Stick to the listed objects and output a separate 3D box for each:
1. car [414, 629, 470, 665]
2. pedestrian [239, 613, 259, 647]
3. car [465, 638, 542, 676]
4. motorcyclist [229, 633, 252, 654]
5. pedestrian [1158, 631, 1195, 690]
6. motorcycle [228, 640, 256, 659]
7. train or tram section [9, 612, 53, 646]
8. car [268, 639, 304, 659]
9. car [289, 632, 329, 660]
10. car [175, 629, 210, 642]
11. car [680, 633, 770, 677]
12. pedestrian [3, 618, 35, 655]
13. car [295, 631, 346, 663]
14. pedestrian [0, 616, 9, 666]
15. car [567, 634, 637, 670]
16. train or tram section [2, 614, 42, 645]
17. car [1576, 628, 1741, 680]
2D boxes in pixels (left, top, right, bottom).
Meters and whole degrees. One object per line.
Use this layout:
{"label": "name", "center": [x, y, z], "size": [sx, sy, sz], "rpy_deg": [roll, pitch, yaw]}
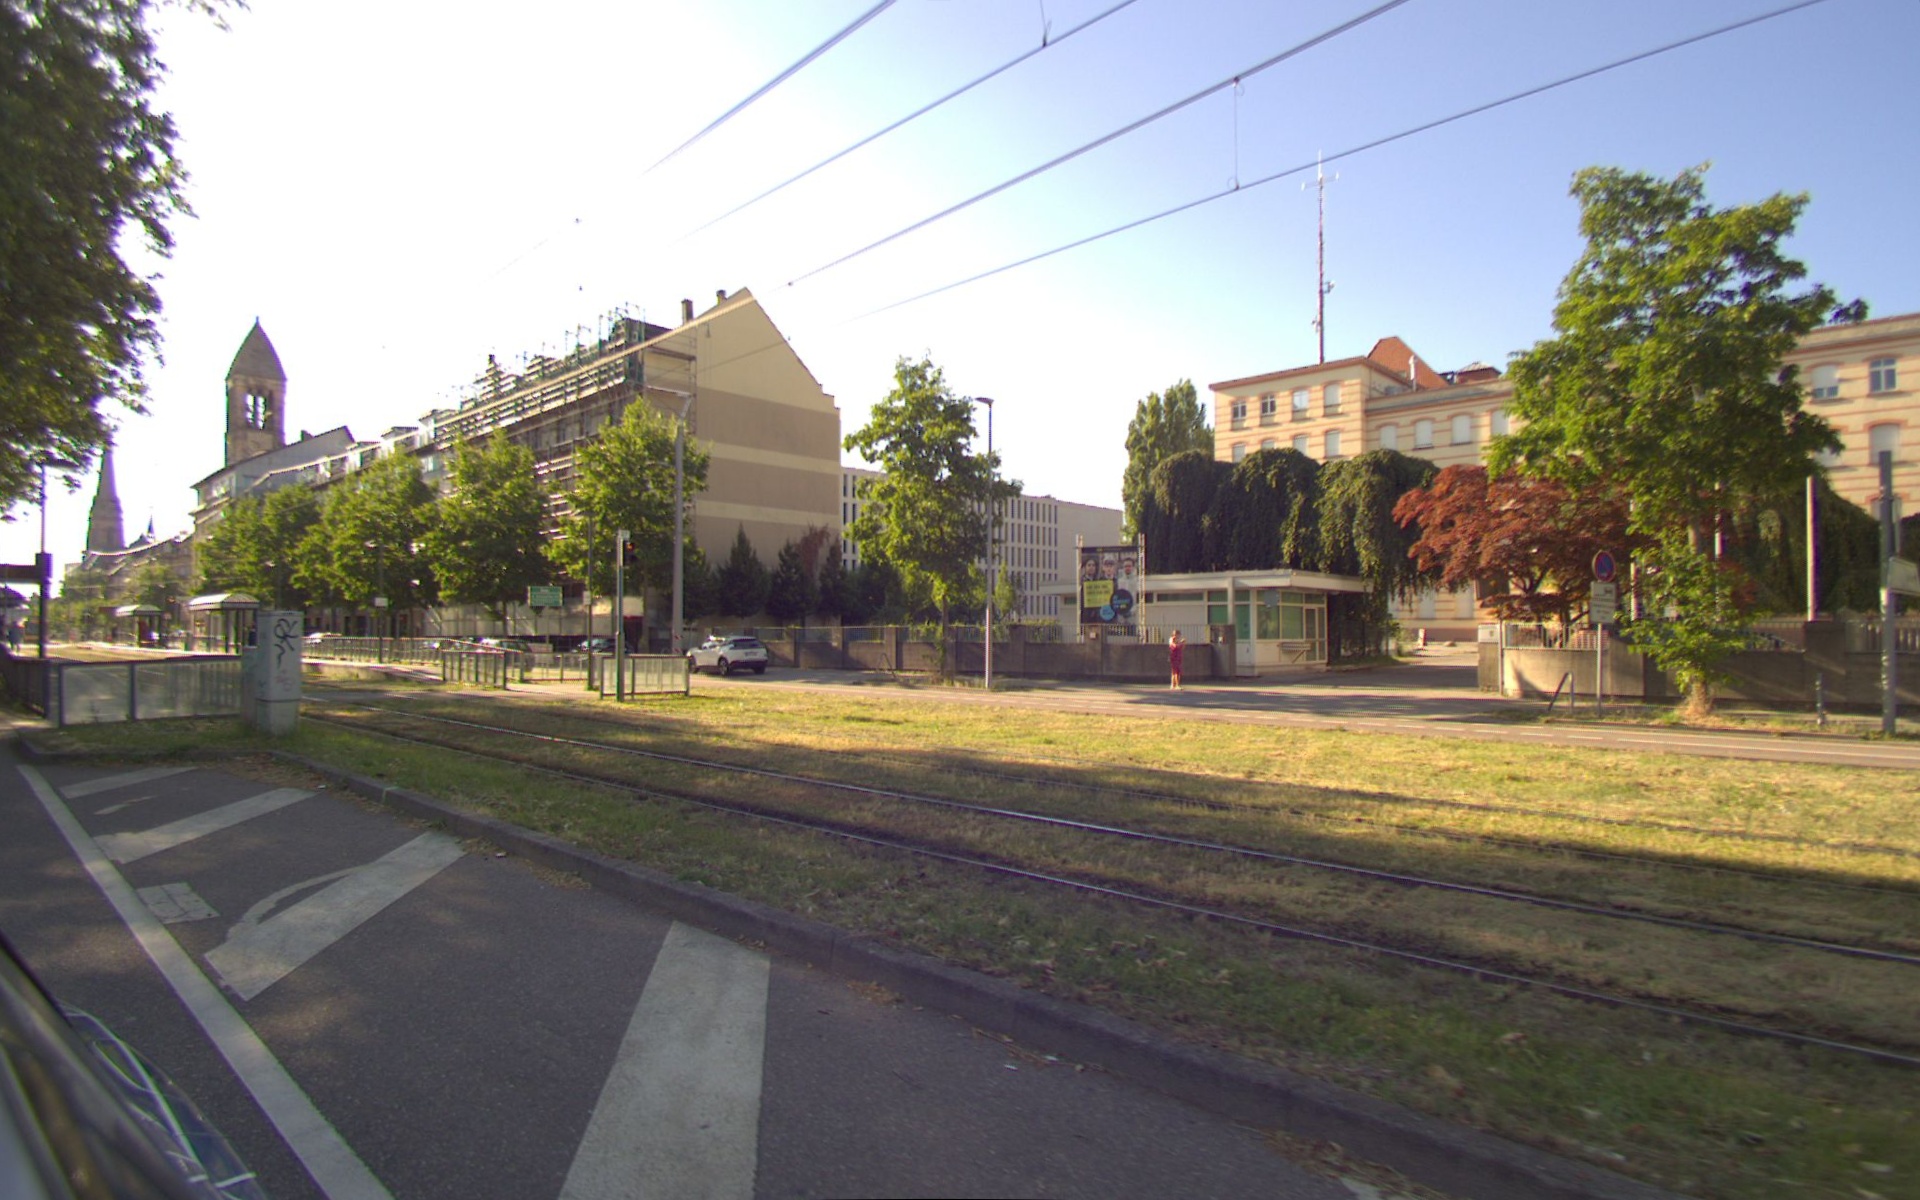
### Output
{"label": "car", "center": [-31.980, 2.868, 62.408], "size": [1.970, 2.029, 4.003], "rpy_deg": [-1, -1, -44]}
{"label": "pedestrian", "center": [-35.822, 1.505, 50.957], "size": [0.654, 1.703, 0.672], "rpy_deg": [-2, -1, 42]}
{"label": "car", "center": [-18.949, 2.336, 41.907], "size": [3.852, 1.418, 1.588], "rpy_deg": [-2, -1, 44]}
{"label": "motorcyclist", "center": [-44.405, 2.681, 62.462], "size": [1.275, 1.309, 0.810], "rpy_deg": [-2, -1, 39]}
{"label": "pedestrian", "center": [6.256, 1.737, 29.222], "size": [0.811, 1.660, 0.717], "rpy_deg": [-1, -4, 38]}
{"label": "motorcycle", "center": [-44.221, 3.039, 62.318], "size": [2.399, 1.081, 0.810], "rpy_deg": [-2, -1, 39]}
{"label": "train or tram section", "center": [-107.252, 3.359, 116.708], "size": [14.564, 3.714, 2.837], "rpy_deg": [-2, -3, 44]}
{"label": "car", "center": [-58.705, 4.235, 88.101], "size": [3.785, 1.648, 1.786], "rpy_deg": [-2, -1, 44]}
{"label": "car", "center": [-53.236, 3.738, 82.762], "size": [3.785, 2.183, 1.919], "rpy_deg": [-2, -1, 44]}
{"label": "car", "center": [-117.339, 5.444, 154.699], "size": [1.871, 1.819, 3.969], "rpy_deg": [-2, -1, 44]}
{"label": "car", "center": [-9.400, 2.158, 40.335], "size": [1.701, 1.598, 4.070], "rpy_deg": [-1, -1, -42]}
{"label": "pedestrian", "center": [-44.377, 1.714, 47.743], "size": [0.624, 1.735, 0.907], "rpy_deg": [-1, -1, 10]}
{"label": "car", "center": [-39.005, 2.846, 61.674], "size": [1.842, 1.819, 4.030], "rpy_deg": [-1, -1, -44]}
{"label": "pedestrian", "center": [-33.075, 1.421, 34.629], "size": [0.678, 1.703, 0.748], "rpy_deg": [-2, -1, 44]}
{"label": "car", "center": [-17.160, 2.443, 48.402], "size": [1.701, 1.598, 4.070], "rpy_deg": [-1, -1, -42]}
{"label": "train or tram section", "center": [-117.660, 3.677, 126.874], "size": [14.564, 3.704, 2.837], "rpy_deg": [-2, -3, 44]}
{"label": "car", "center": [20.867, 1.583, 30.315], "size": [3.852, 1.418, 1.588], "rpy_deg": [-2, -1, 44]}
